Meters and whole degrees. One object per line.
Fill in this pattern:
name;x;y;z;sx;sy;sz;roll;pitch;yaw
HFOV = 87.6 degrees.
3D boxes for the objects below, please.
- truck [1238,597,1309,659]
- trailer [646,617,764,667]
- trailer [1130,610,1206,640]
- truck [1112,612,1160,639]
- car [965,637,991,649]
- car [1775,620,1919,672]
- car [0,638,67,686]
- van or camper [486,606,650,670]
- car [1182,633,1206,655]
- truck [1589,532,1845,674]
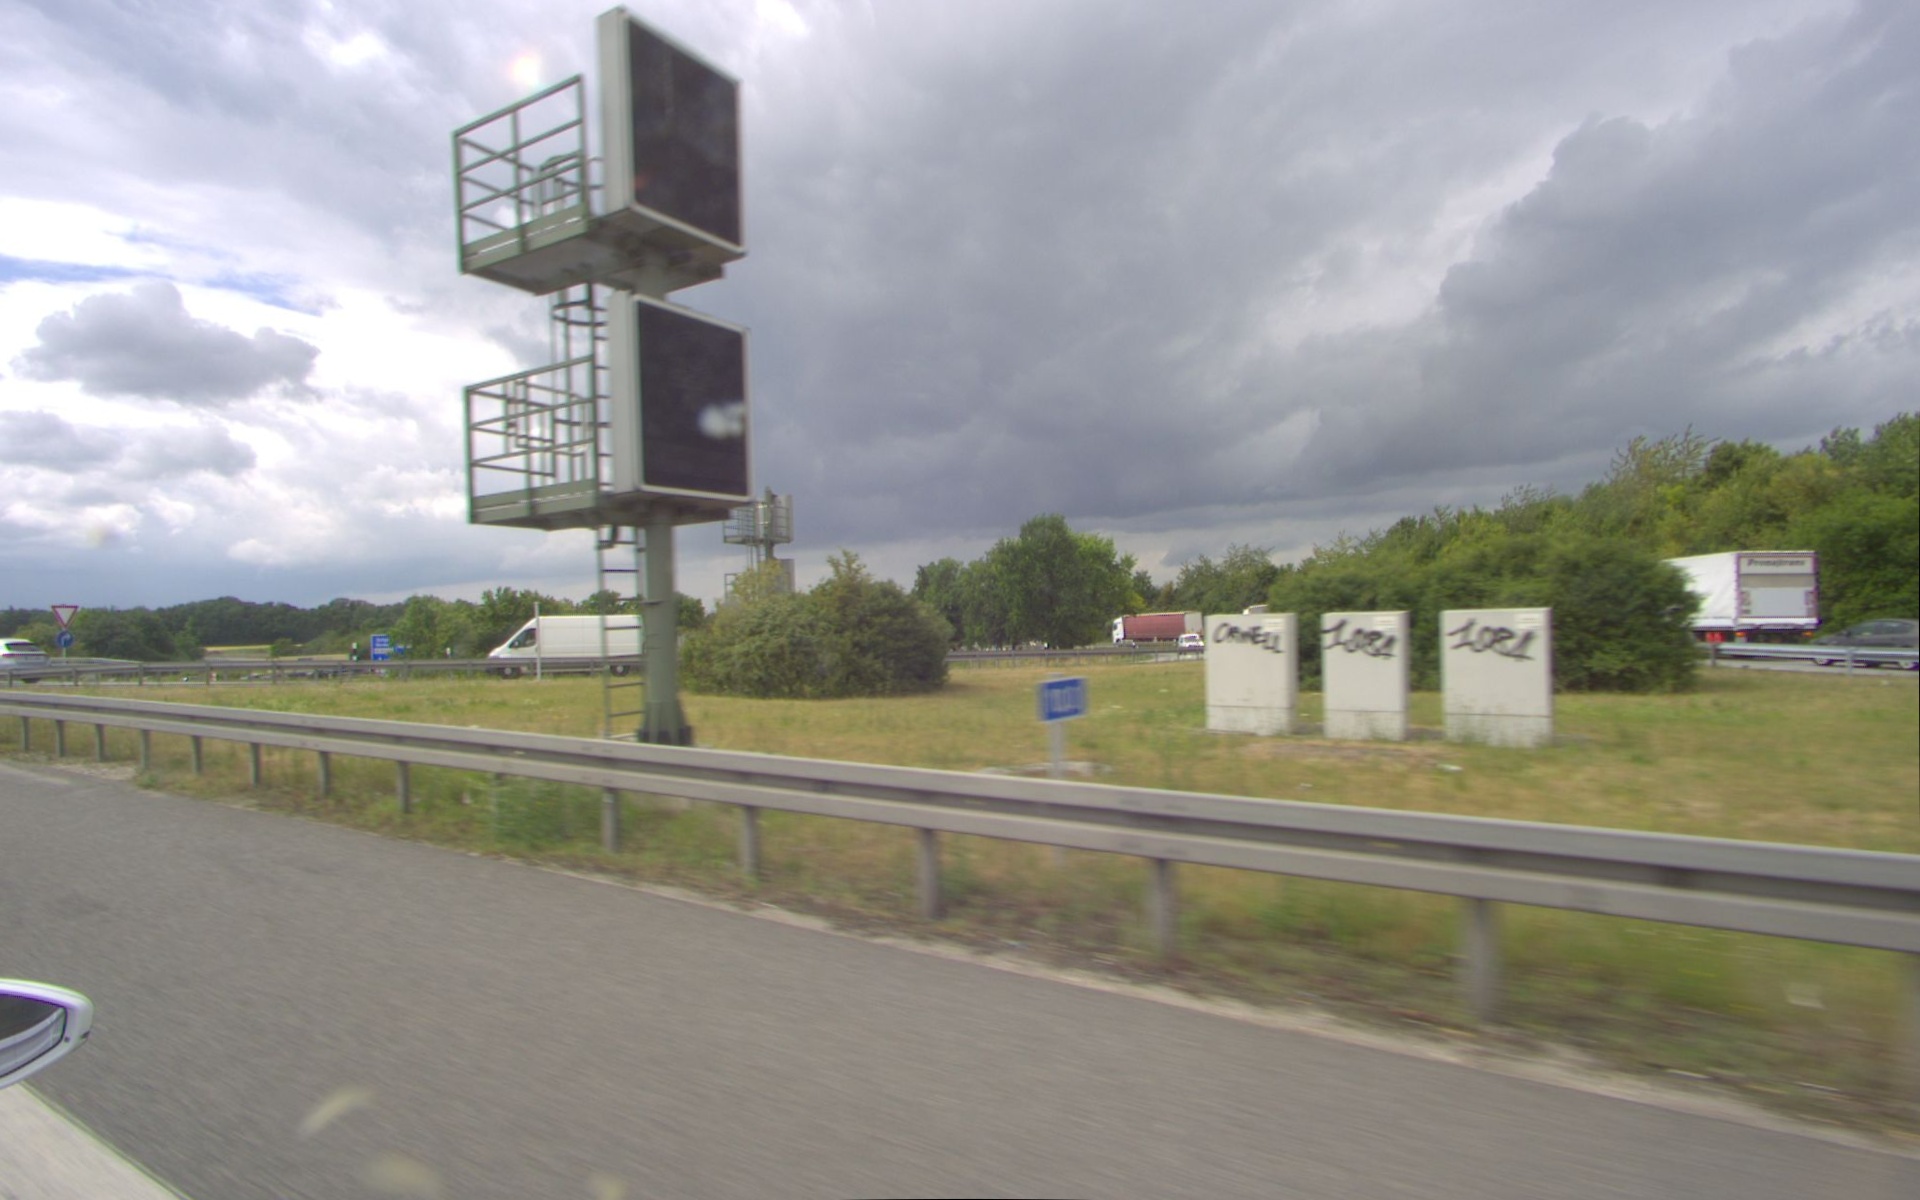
truck;32.312;2.954;103.744;3.990;6.150;8.981;0;-2;-4
trailer;-10.555;1.725;41.444;4.433;1.865;1.994;-1;-1;-23
trailer;25.741;3.156;124.655;3.083;3.492;11.654;0;-2;-23
truck;22.945;3.371;131.062;3.071;3.543;6.584;0;-2;-24
car;2.753;6.691;155.084;1.886;1.806;3.961;2;-3;-44
car;26.788;1.294;29.198;1.854;1.380;4.787;-1;-1;-6
car;-35.751;2.283;36.778;4.127;1.706;1.943;-1;-1;-1
van or camper;-15.368;1.479;39.438;5.843;2.391;2.225;1;-2;-23
car;20.174;3.827;86.452;1.766;1.771;4.002;-1;-4;10
truck;27.872;0.274;37.660;3.219;4.674;8.995;0;-2;4
